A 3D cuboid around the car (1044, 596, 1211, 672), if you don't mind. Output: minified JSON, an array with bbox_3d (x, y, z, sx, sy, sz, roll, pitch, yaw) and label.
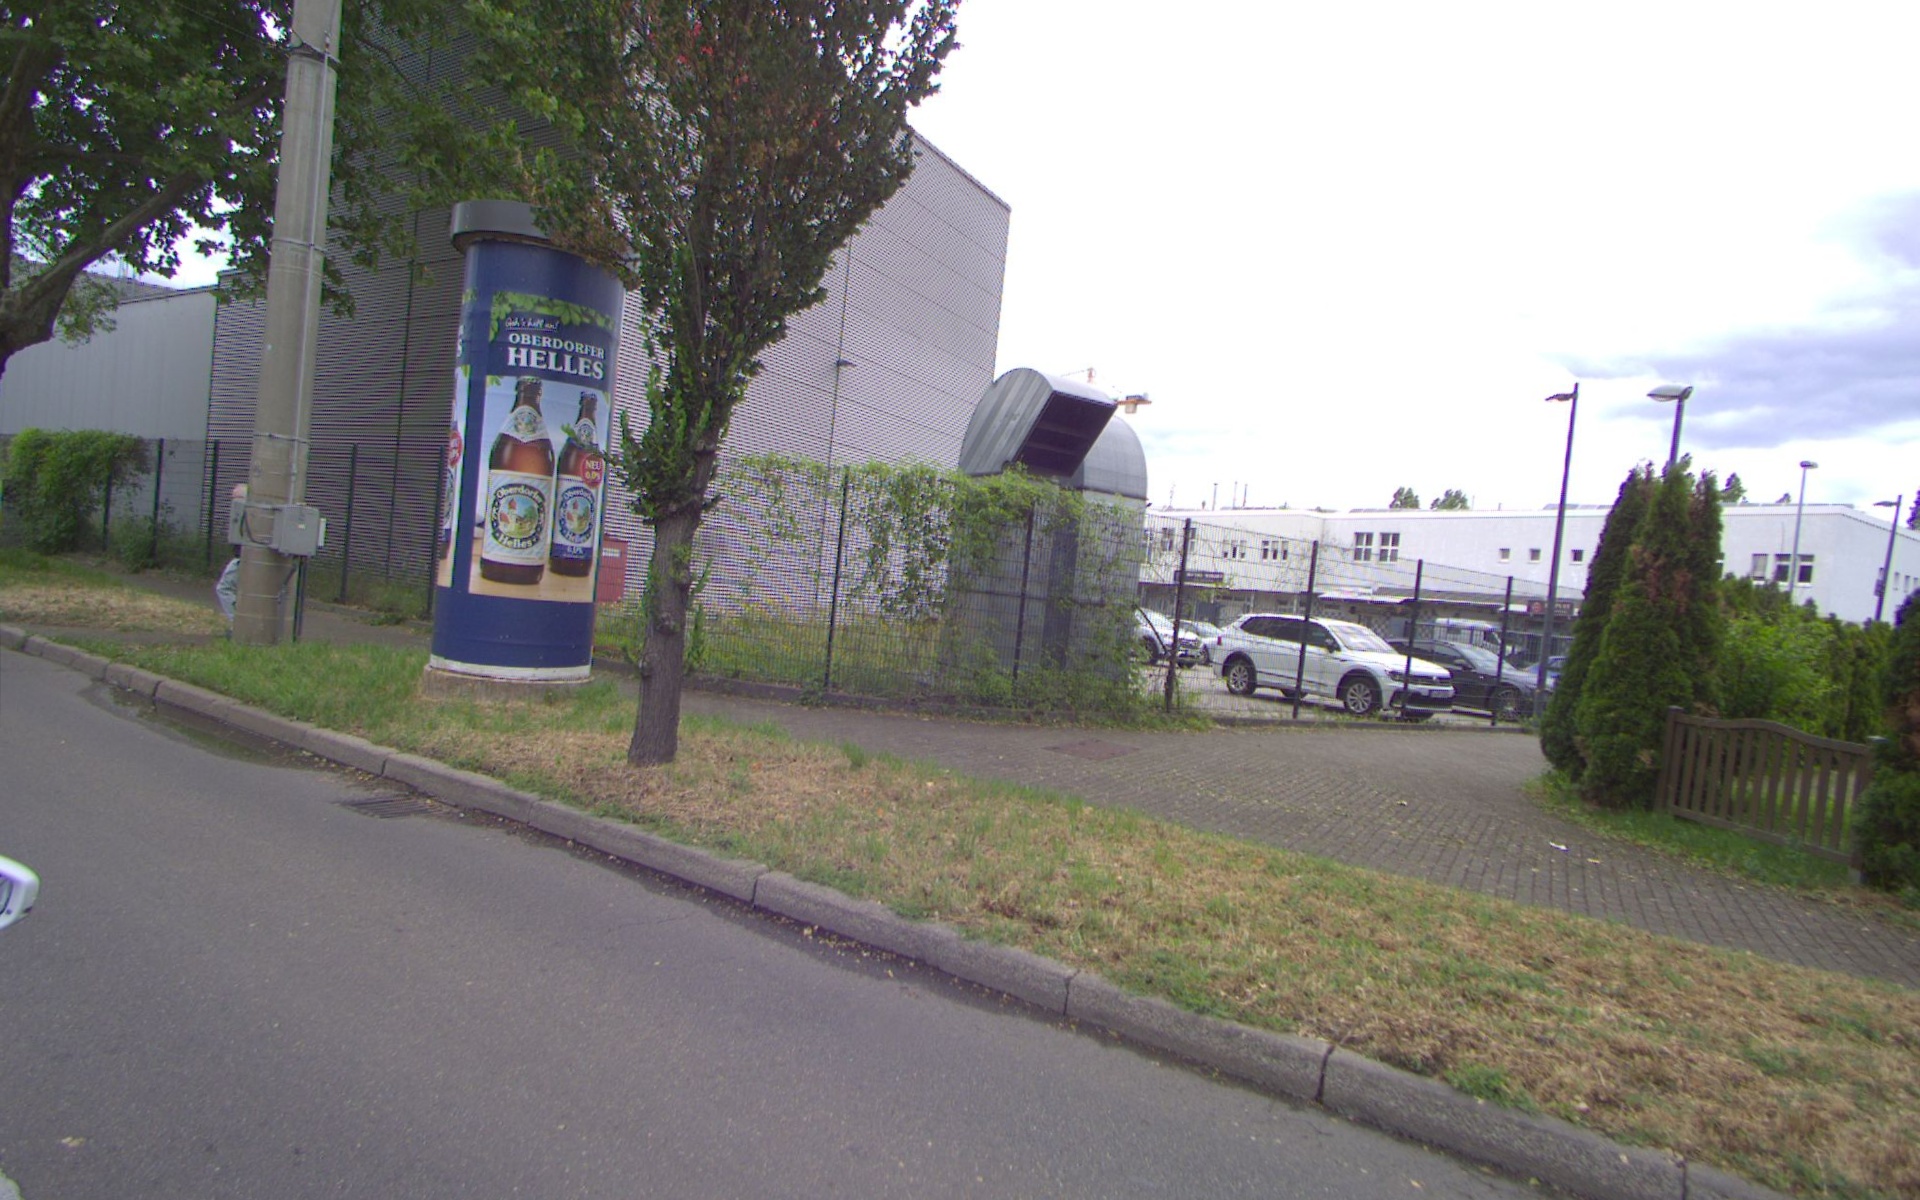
[{"bbox_3d":[4.845,0.956,29.580,4.418,1.687,1.999,6,1,-1],"label":"car"}]

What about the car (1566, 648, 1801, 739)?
[{"bbox_3d":[18.747,2.375,26.309,1.979,1.686,4.464,6,1,-31],"label":"car"}]

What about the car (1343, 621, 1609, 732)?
[{"bbox_3d":[10.610,1.524,21.050,1.979,1.686,4.464,6,1,-31],"label":"car"}]

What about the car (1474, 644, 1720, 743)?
[{"bbox_3d":[15.079,2.165,24.087,1.979,1.686,4.464,6,1,-31],"label":"car"}]

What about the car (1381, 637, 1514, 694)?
[{"bbox_3d":[19.388,2.581,40.139,1.982,1.668,4.233,8,-2,-34],"label":"car"}]

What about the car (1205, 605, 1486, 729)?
[{"bbox_3d":[6.944,1.160,18.645,1.979,1.686,4.464,6,1,-31],"label":"car"}]

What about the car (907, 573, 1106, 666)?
[{"bbox_3d":[1.117,0.465,24.222,4.197,1.668,1.999,6,-2,29],"label":"car"}]

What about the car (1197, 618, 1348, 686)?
[{"bbox_3d":[10.026,1.645,32.580,1.982,1.668,4.233,8,-2,-34],"label":"car"}]

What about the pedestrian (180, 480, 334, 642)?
[{"bbox_3d":[-8.142,-0.457,11.705,0.798,1.786,1.118,1,5,16],"label":"pedestrian"}]
